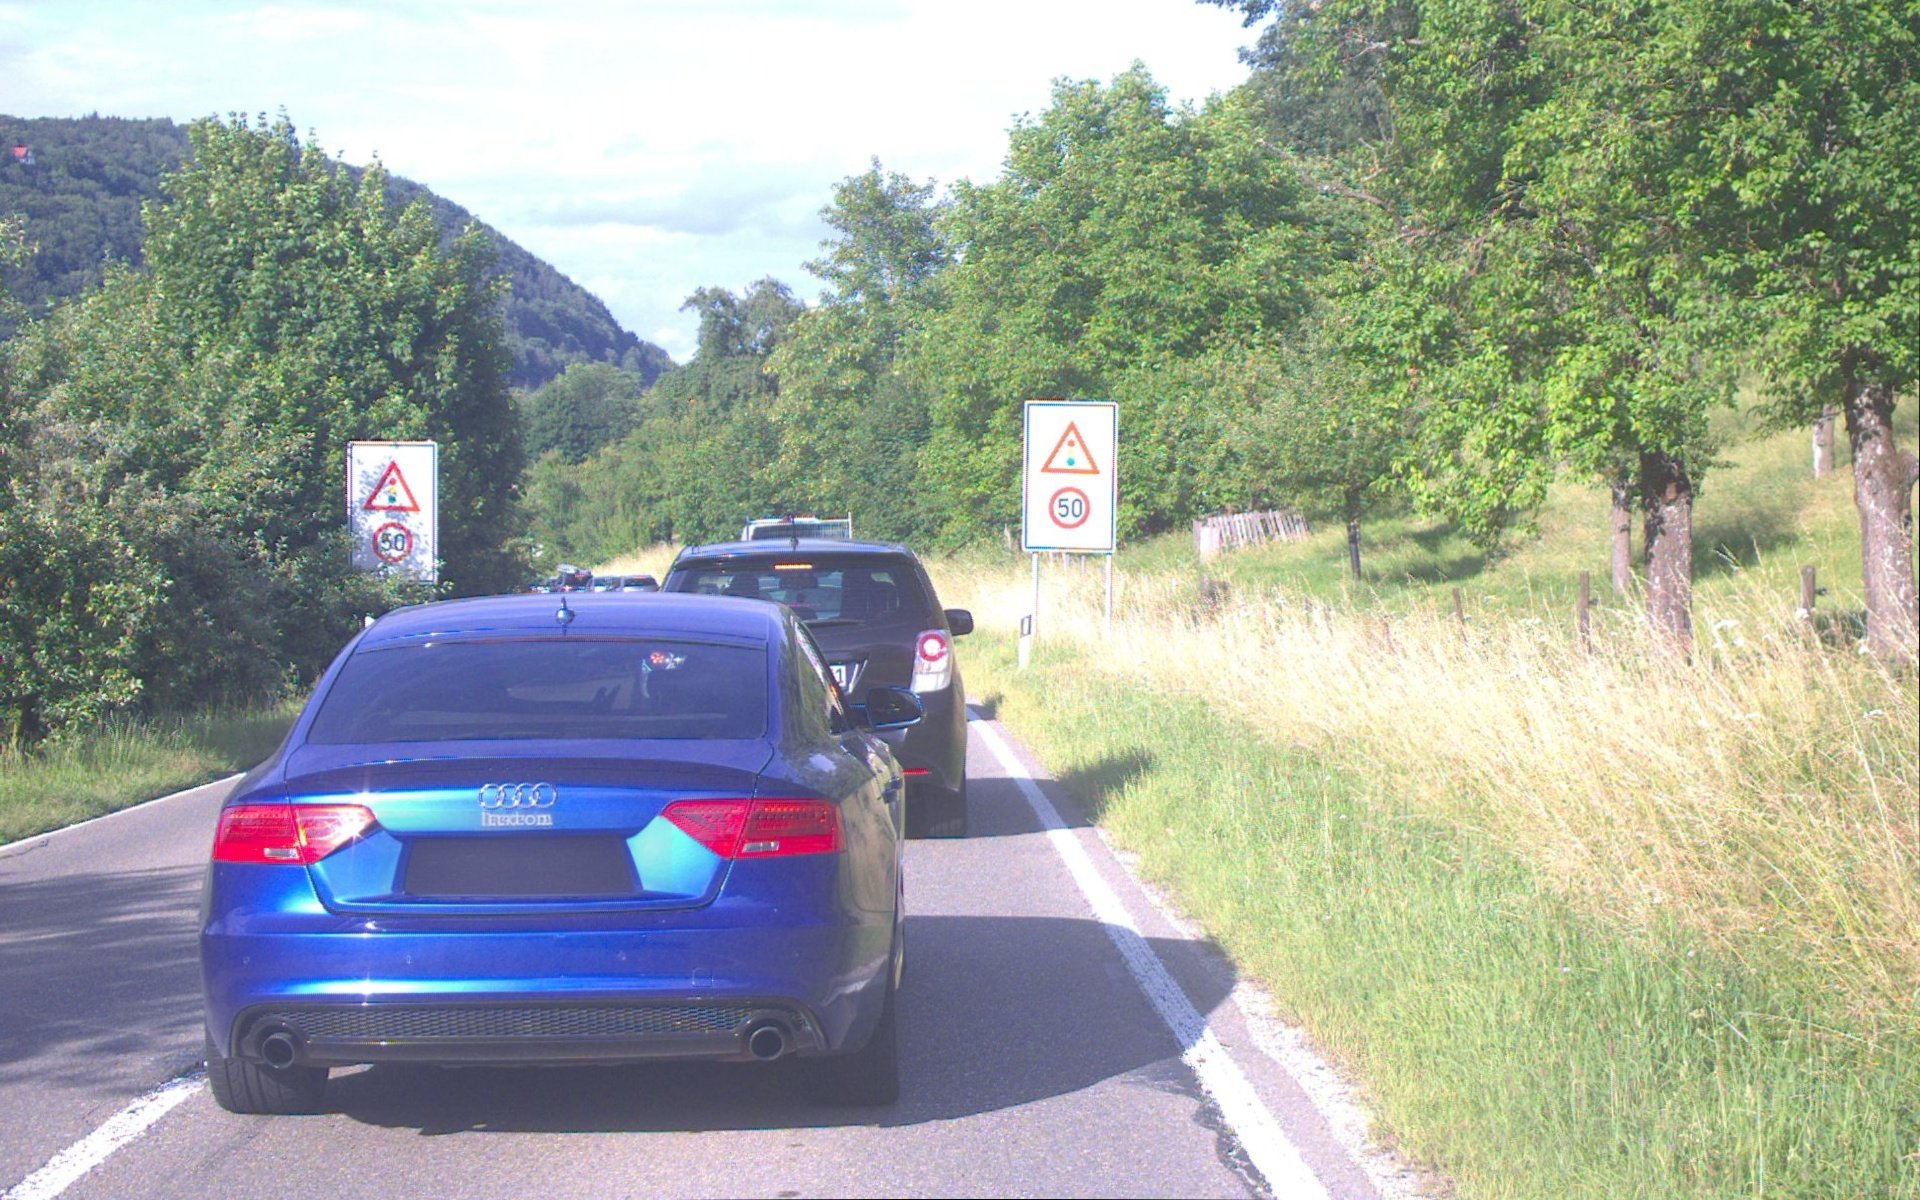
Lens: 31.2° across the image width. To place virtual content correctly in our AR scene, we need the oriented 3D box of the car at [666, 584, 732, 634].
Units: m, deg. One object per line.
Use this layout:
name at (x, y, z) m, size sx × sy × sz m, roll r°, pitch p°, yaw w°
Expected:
car at (-8.539, 0.291, 112.410) m, size 1.747 × 1.490 × 3.779 m, roll 2°, pitch 1°, yaw -10°

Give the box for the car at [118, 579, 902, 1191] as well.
car at (-1.088, 0.653, 10.157) m, size 1.805 × 1.377 × 4.215 m, roll -1°, pitch 1°, yaw -1°

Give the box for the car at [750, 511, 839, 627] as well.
car at (-3.705, -0.696, 76.460) m, size 1.792 × 2.445 × 3.920 m, roll 2°, pitch 1°, yaw -4°

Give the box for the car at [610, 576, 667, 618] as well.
car at (-12.526, -0.113, 133.801) m, size 1.747 × 1.490 × 3.779 m, roll 2°, pitch 1°, yaw -12°

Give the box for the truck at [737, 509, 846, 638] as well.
truck at (-3.241, -0.535, 66.813) m, size 1.950 × 2.337 × 5.094 m, roll 2°, pitch 1°, yaw -2°

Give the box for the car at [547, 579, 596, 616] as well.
car at (-16.944, -0.113, 149.978) m, size 1.558 × 1.490 × 3.779 m, roll 2°, pitch 1°, yaw -15°

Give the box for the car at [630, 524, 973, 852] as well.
car at (-0.844, 0.408, 19.158) m, size 1.692 × 1.618 × 3.789 m, roll 1°, pitch 1°, yaw -1°

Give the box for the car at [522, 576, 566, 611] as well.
car at (-19.146, -0.320, 158.178) m, size 1.558 × 1.490 × 3.779 m, roll 2°, pitch 1°, yaw -14°

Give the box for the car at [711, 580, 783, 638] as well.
car at (-6.098, 0.246, 98.029) m, size 1.747 × 1.490 × 3.779 m, roll 2°, pitch 1°, yaw -7°

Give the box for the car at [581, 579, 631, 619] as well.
car at (-14.615, -0.048, 141.809) m, size 1.558 × 1.490 × 3.779 m, roll 2°, pitch 1°, yaw -13°
